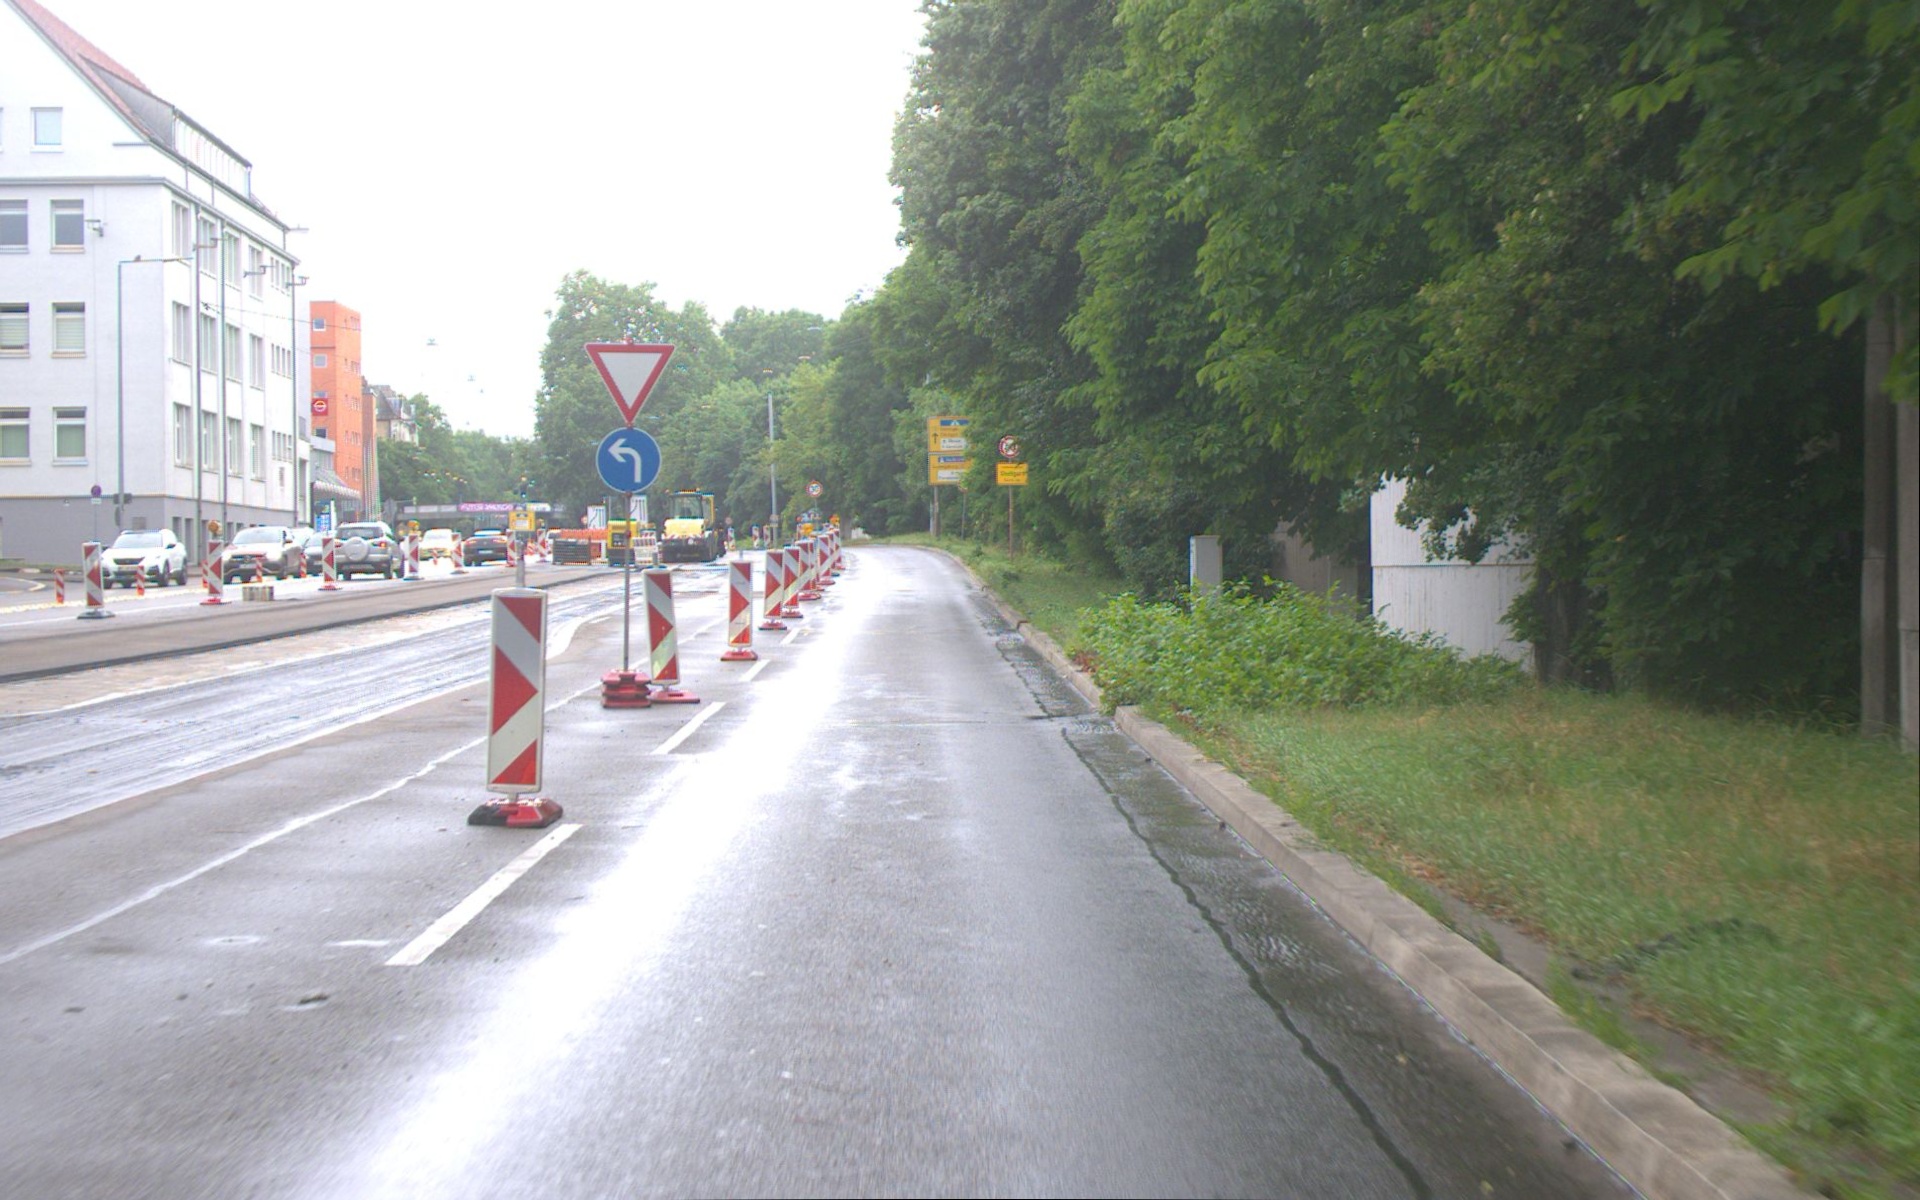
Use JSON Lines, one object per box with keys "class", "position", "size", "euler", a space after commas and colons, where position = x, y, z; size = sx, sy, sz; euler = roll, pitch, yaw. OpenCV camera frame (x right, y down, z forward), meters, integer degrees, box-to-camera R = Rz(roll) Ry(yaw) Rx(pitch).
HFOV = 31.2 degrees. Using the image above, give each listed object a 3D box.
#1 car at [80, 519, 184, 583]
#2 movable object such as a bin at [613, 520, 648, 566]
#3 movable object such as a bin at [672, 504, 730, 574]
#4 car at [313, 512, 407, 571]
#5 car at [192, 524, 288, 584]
{"class": "car", "position": [-23.462, -1.405, 97.571], "size": [1.859, 1.700, 4.365], "euler": [-2, 1, -1]}
{"class": "movable object such as a bin", "position": [-11.814, -2.050, 123.288], "size": [1.083, 1.639, 2.439], "euler": [0, 1, -2]}
{"class": "movable object such as a bin", "position": [-9.887, -2.361, 131.549], "size": [1.902, 2.600, 5.383], "euler": [-1, 1, -1]}
{"class": "car", "position": [-16.957, -1.654, 97.356], "size": [1.893, 1.644, 4.396], "euler": [0, 1, 0]}
{"class": "car", "position": [-20.869, -1.340, 99.820], "size": [1.859, 1.613, 4.365], "euler": [-2, 1, -1]}
